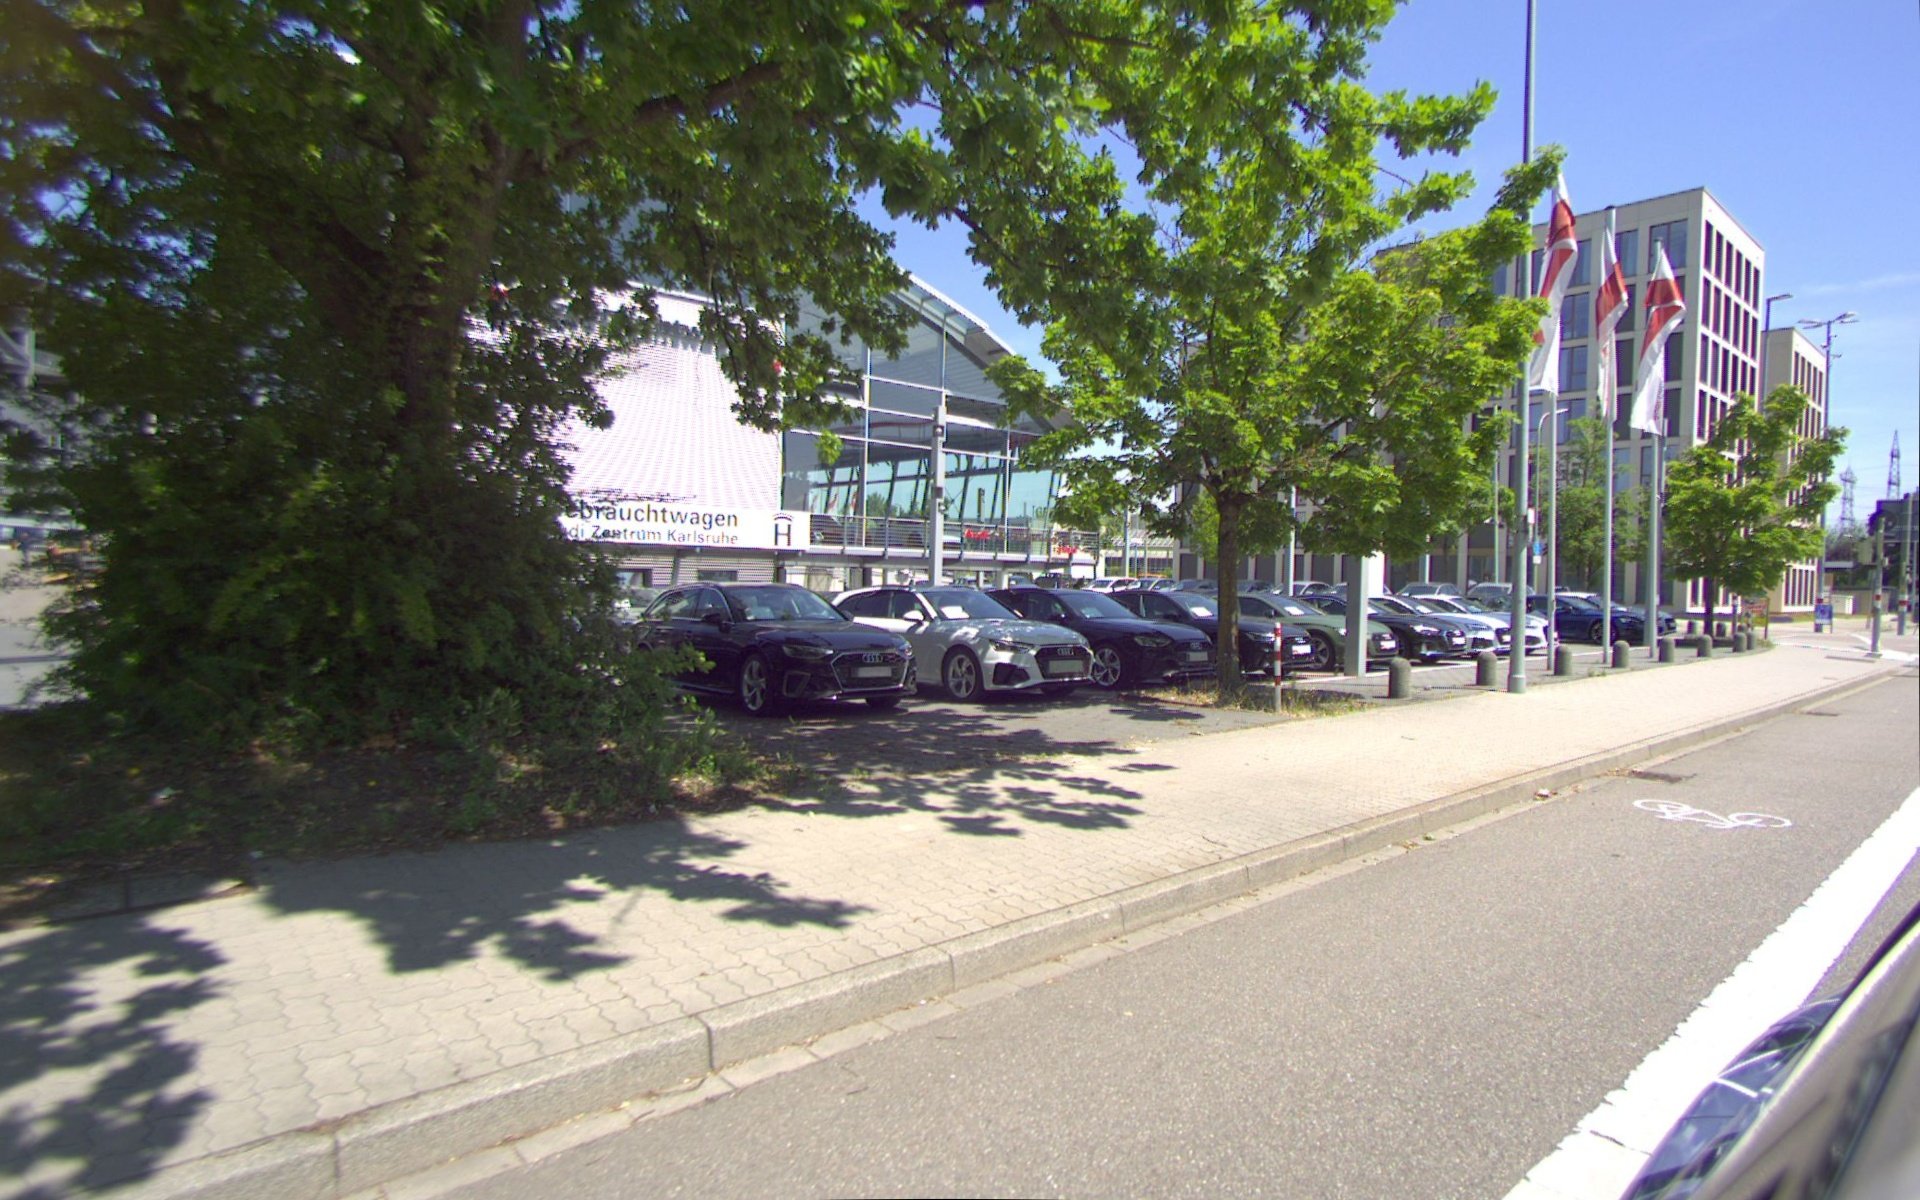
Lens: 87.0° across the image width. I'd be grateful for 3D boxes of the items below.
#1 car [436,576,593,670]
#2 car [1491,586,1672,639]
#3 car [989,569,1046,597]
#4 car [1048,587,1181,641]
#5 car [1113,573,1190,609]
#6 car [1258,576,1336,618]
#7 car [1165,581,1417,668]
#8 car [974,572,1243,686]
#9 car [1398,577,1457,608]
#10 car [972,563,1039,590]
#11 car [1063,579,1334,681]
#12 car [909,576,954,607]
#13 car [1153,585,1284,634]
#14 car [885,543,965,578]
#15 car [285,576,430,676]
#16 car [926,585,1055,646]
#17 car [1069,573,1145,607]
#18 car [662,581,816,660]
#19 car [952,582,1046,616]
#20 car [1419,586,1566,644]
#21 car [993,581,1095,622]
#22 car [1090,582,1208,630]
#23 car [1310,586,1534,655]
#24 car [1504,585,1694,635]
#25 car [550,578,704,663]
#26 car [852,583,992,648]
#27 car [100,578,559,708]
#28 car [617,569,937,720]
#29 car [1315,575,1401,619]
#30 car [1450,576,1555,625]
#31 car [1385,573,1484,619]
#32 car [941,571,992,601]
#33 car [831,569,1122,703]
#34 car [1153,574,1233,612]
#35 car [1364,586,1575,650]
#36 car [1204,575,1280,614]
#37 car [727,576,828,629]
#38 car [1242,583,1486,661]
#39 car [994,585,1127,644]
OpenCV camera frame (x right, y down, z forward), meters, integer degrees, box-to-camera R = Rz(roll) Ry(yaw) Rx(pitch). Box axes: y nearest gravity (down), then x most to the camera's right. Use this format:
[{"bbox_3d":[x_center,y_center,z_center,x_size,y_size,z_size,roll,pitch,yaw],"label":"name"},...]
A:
[{"bbox_3d":[-8.971,0.423,20.208,1.818,1.675,3.992,0,0,-40],"label":"car"},{"bbox_3d":[17.867,0.349,29.232,1.836,1.408,4.103,0,0,-40],"label":"car"},{"bbox_3d":[3.293,-1.024,59.058,1.811,1.490,4.627,1,2,-16],"label":"car"},{"bbox_3d":[4.868,0.421,32.313,1.818,1.619,3.992,0,0,-40],"label":"car"},{"bbox_3d":[9.364,-0.434,49.367,1.845,1.675,3.934,-1,0,44],"label":"car"},{"bbox_3d":[14.253,-0.115,42.738,1.637,1.636,3.756,1,0,44],"label":"car"},{"bbox_3d":[6.006,0.416,18.740,1.836,1.422,4.108,0,0,-40],"label":"car"},{"bbox_3d":[2.100,0.378,15.052,1.802,1.472,3.688,0,0,-40],"label":"car"},{"bbox_3d":[30.504,-0.534,66.185,1.886,1.910,4.927,1,1,4],"label":"car"},{"bbox_3d":[2.939,-1.559,66.445,1.878,1.715,4.587,0,2,-37],"label":"car"},{"bbox_3d":[3.823,0.442,16.784,1.836,1.472,4.108,0,0,-40],"label":"car"},{"bbox_3d":[-1.588,-0.481,55.287,1.812,1.590,4.007,1,2,-11],"label":"car"},{"bbox_3d":[8.827,0.293,34.350,4.629,1.535,1.879,0,0,-38],"label":"car"},{"bbox_3d":[-2.191,-2.414,61.882,1.881,1.991,5.242,0,2,-43],"label":"car"},{"bbox_3d":[-10.886,0.425,18.169,1.612,1.604,3.905,0,0,-40],"label":"car"},{"bbox_3d":[0.807,0.420,28.667,1.613,1.600,3.653,0,0,-40],"label":"car"},{"bbox_3d":[7.511,-0.492,51.478,1.845,1.675,3.934,-1,0,44],"label":"car"},{"bbox_3d":[-5.181,0.437,23.415,1.818,1.675,3.992,0,0,-40],"label":"car"},{"bbox_3d":[1.664,-0.053,42.587,3.751,1.363,1.677,0,2,-39],"label":"car"},{"bbox_3d":[14.306,0.361,27.086,4.579,1.438,1.867,0,0,-39],"label":"car"},{"bbox_3d":[3.422,0.037,40.999,3.928,1.559,1.856,0,2,-39],"label":"car"},{"bbox_3d":[6.903,0.184,36.771,4.229,1.647,1.879,0,0,-38],"label":"car"},{"bbox_3d":[10.091,0.414,22.340,1.836,1.366,4.106,0,0,-40],"label":"car"},{"bbox_3d":[19.491,0.294,31.042,1.836,1.408,4.600,0,0,-40],"label":"car"},{"bbox_3d":[-7.282,0.409,21.907,1.818,1.675,3.992,0,0,-40],"label":"car"},{"bbox_3d":[-1.079,0.386,26.952,1.605,1.593,3.989,0,0,-40],"label":"car"},{"bbox_3d":[-7.332,0.495,12.077,4.381,1.332,1.850,-1,-1,2],"label":"car"},{"bbox_3d":[-2.284,0.434,11.722,1.784,1.419,4.239,0,-1,-40],"label":"car"},{"bbox_3d":[16.056,-0.109,40.745,1.845,1.675,3.934,-1,0,44],"label":"car"},{"bbox_3d":[19.805,-0.044,36.874,4.424,1.577,1.872,-2,4,-40],"label":"car"},{"bbox_3d":[18.283,-0.172,38.936,3.926,1.675,1.849,-1,0,-38],"label":"car"},{"bbox_3d":[0.325,-0.809,55.992,1.653,1.522,3.811,-1,3,-19],"label":"car"},{"bbox_3d":[0.099,0.405,13.159,1.802,1.472,3.688,0,0,-40],"label":"car"},{"bbox_3d":[10.865,-0.303,47.031,1.845,1.675,3.934,-1,0,44],"label":"car"},{"bbox_3d":[12.019,0.406,24.071,1.841,1.382,4.103,0,0,-40],"label":"car"},{"bbox_3d":[12.570,-0.262,45.021,1.629,1.675,3.848,1,1,44],"label":"car"},{"bbox_3d":[-5.997,0.088,33.028,1.613,1.630,3.653,0,0,-40],"label":"car"},{"bbox_3d":[8.057,0.409,20.476,1.836,1.408,4.233,0,0,-40],"label":"car"},{"bbox_3d":[2.962,0.420,30.467,1.628,1.642,3.992,0,0,-40],"label":"car"}]
